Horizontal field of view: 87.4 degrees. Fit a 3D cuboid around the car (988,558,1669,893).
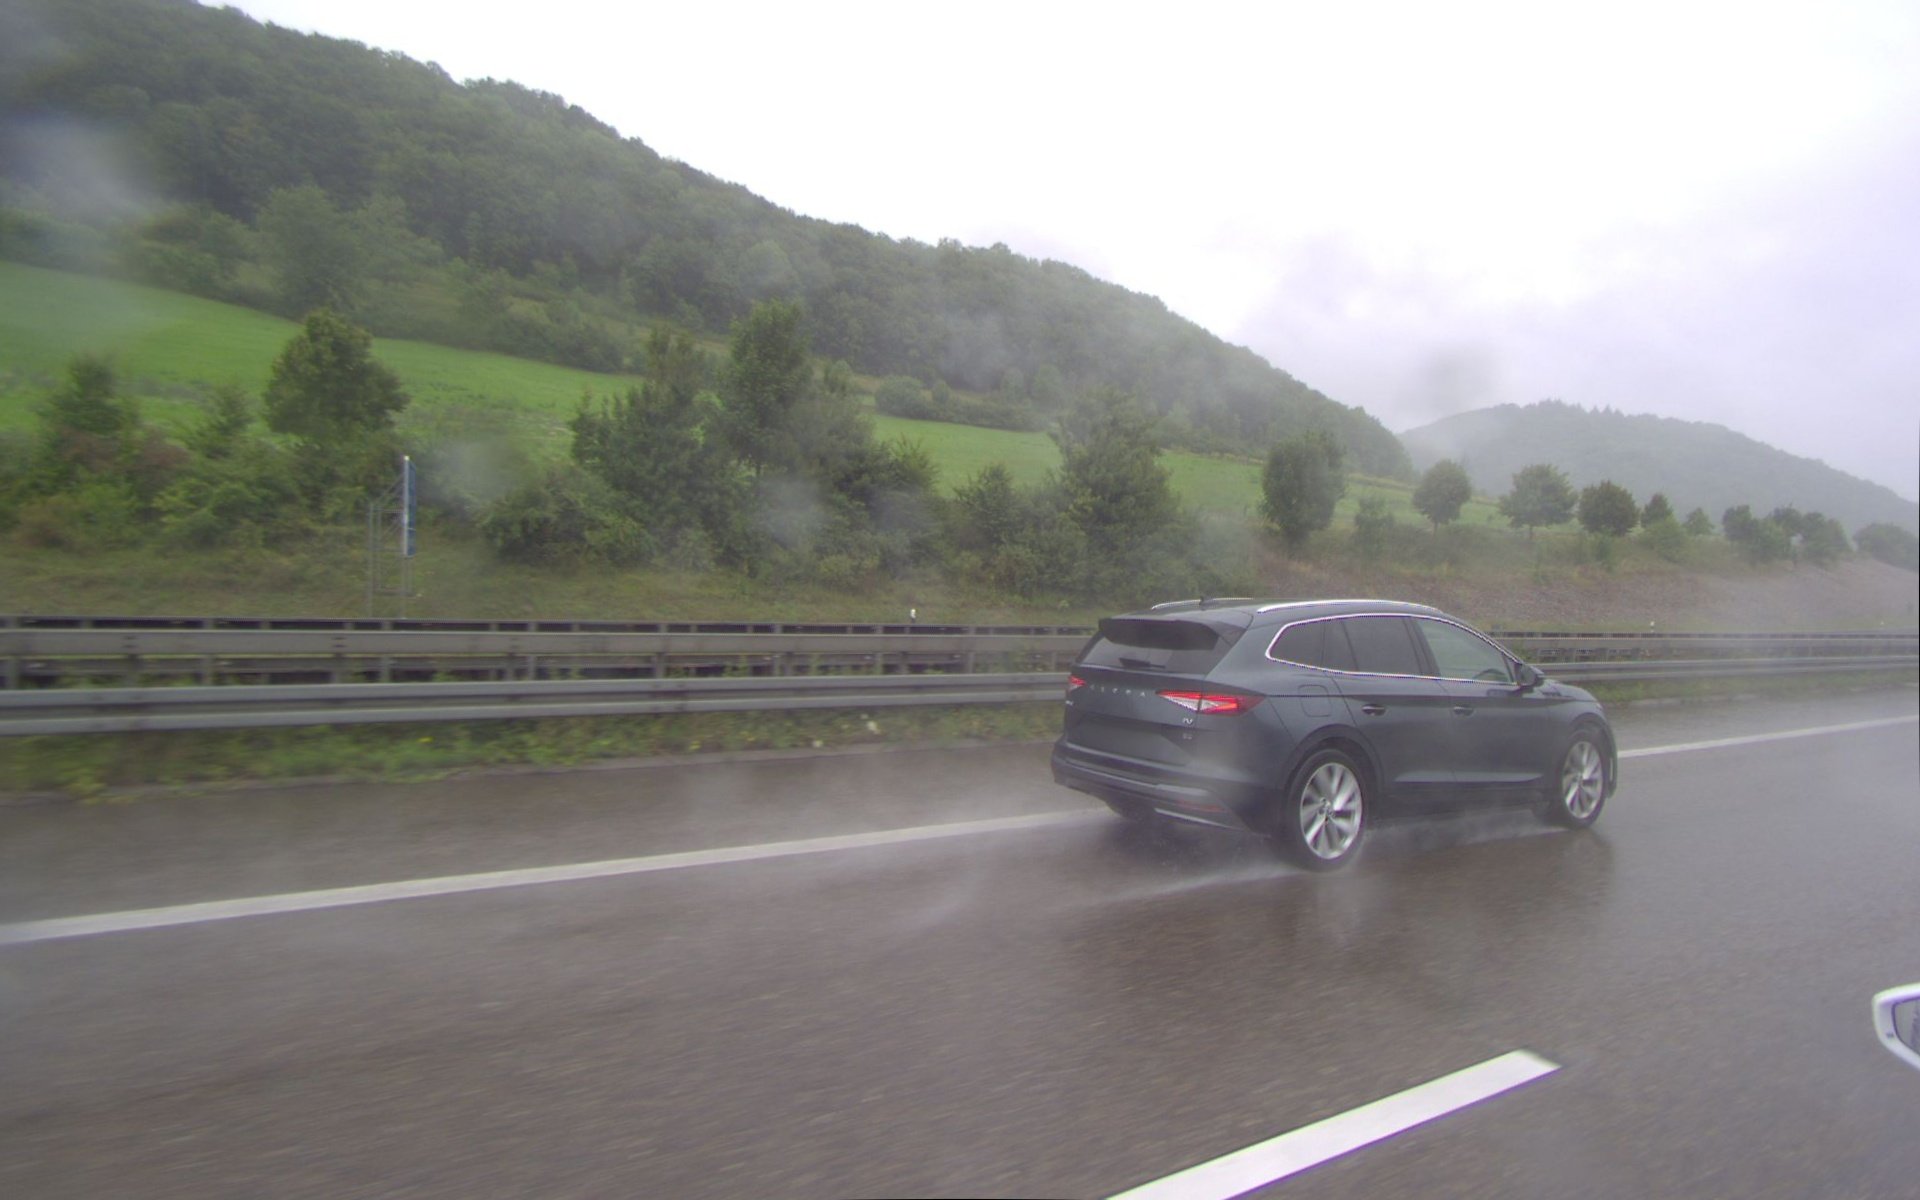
[{"bbox_3d":[2.788,0.759,7.228,4.853,1.705,1.984,3,-2,-31],"label":"car"}]
